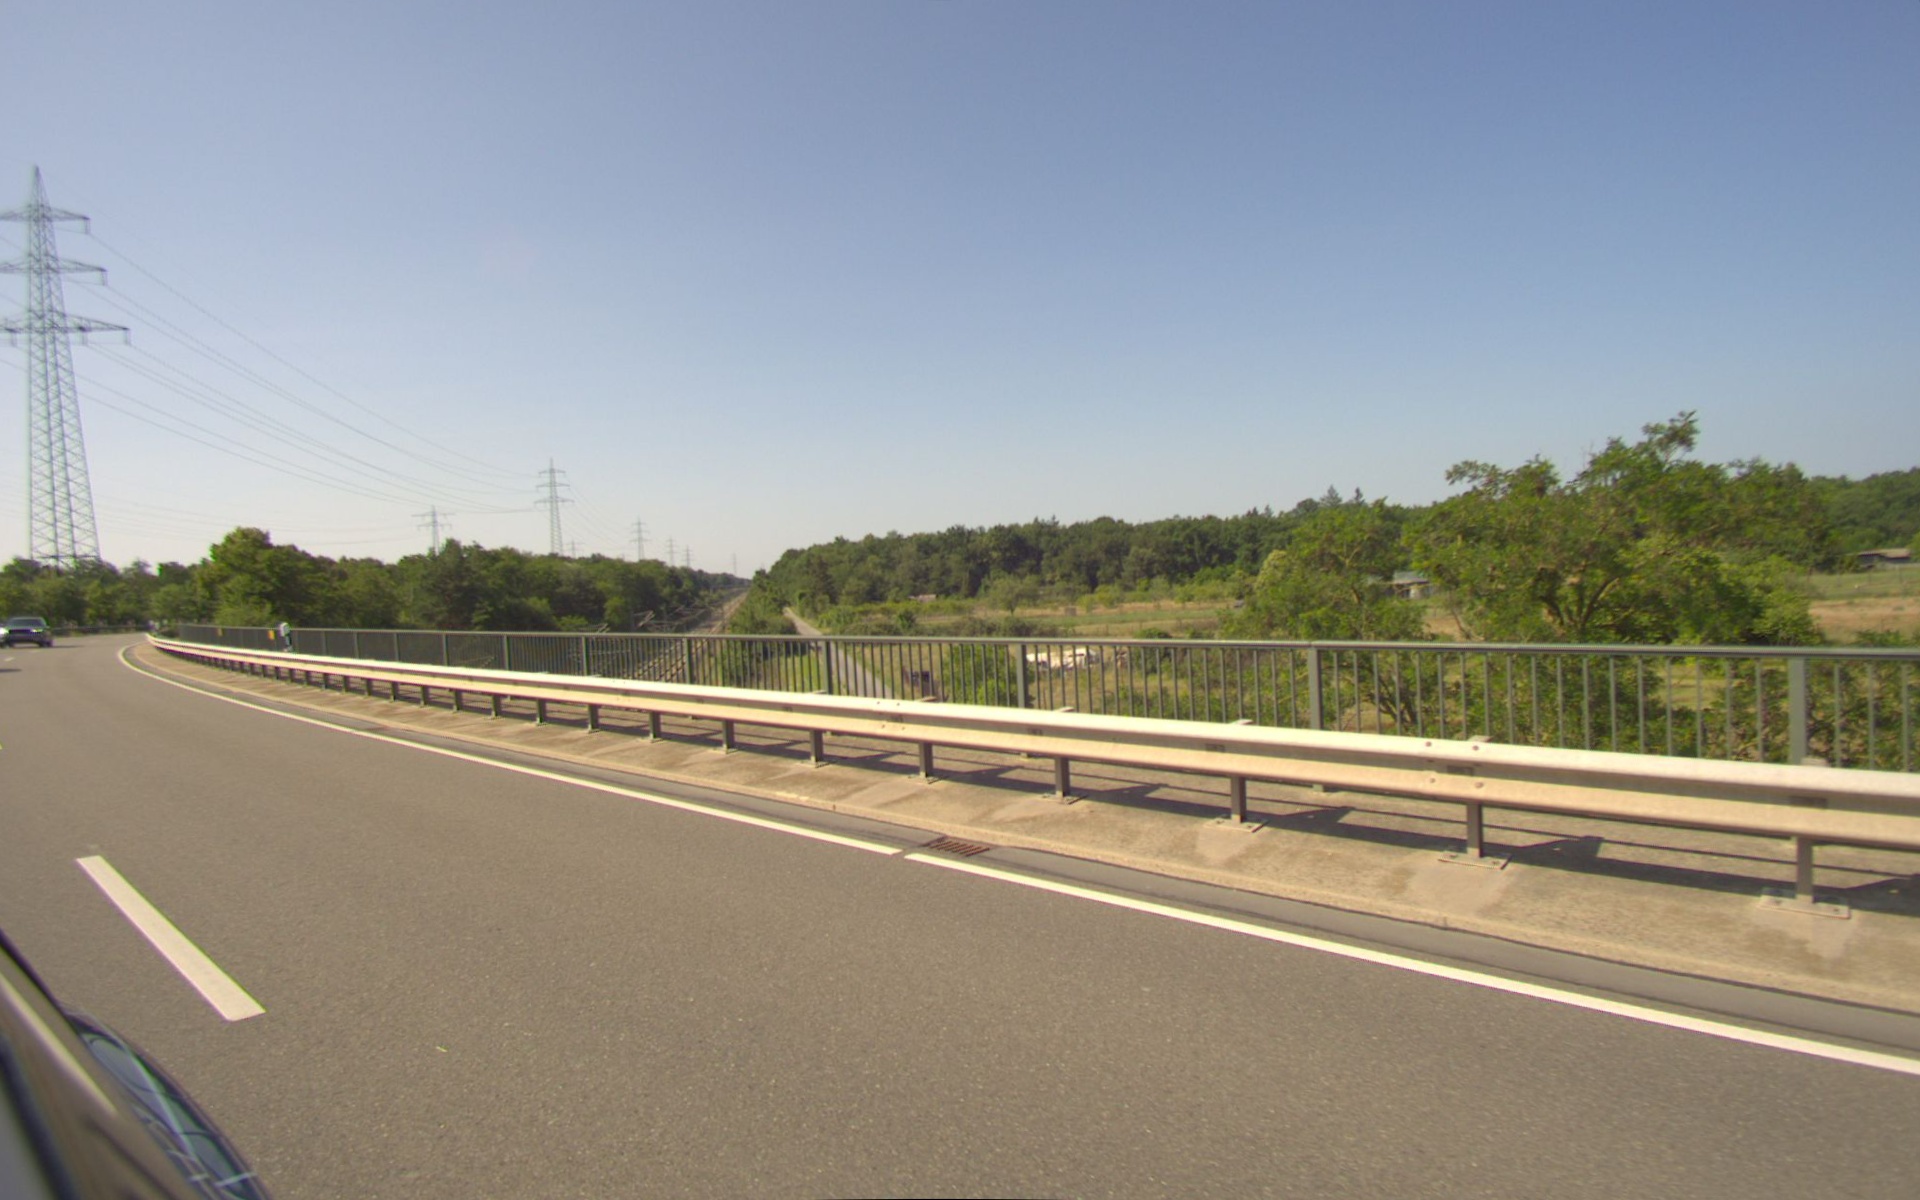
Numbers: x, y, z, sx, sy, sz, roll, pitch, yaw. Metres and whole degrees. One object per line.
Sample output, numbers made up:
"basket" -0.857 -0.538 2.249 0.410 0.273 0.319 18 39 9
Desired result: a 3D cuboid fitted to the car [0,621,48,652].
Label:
"car" -51.651 1.997 55.825 1.582 1.506 4.009 -1 1 -37
